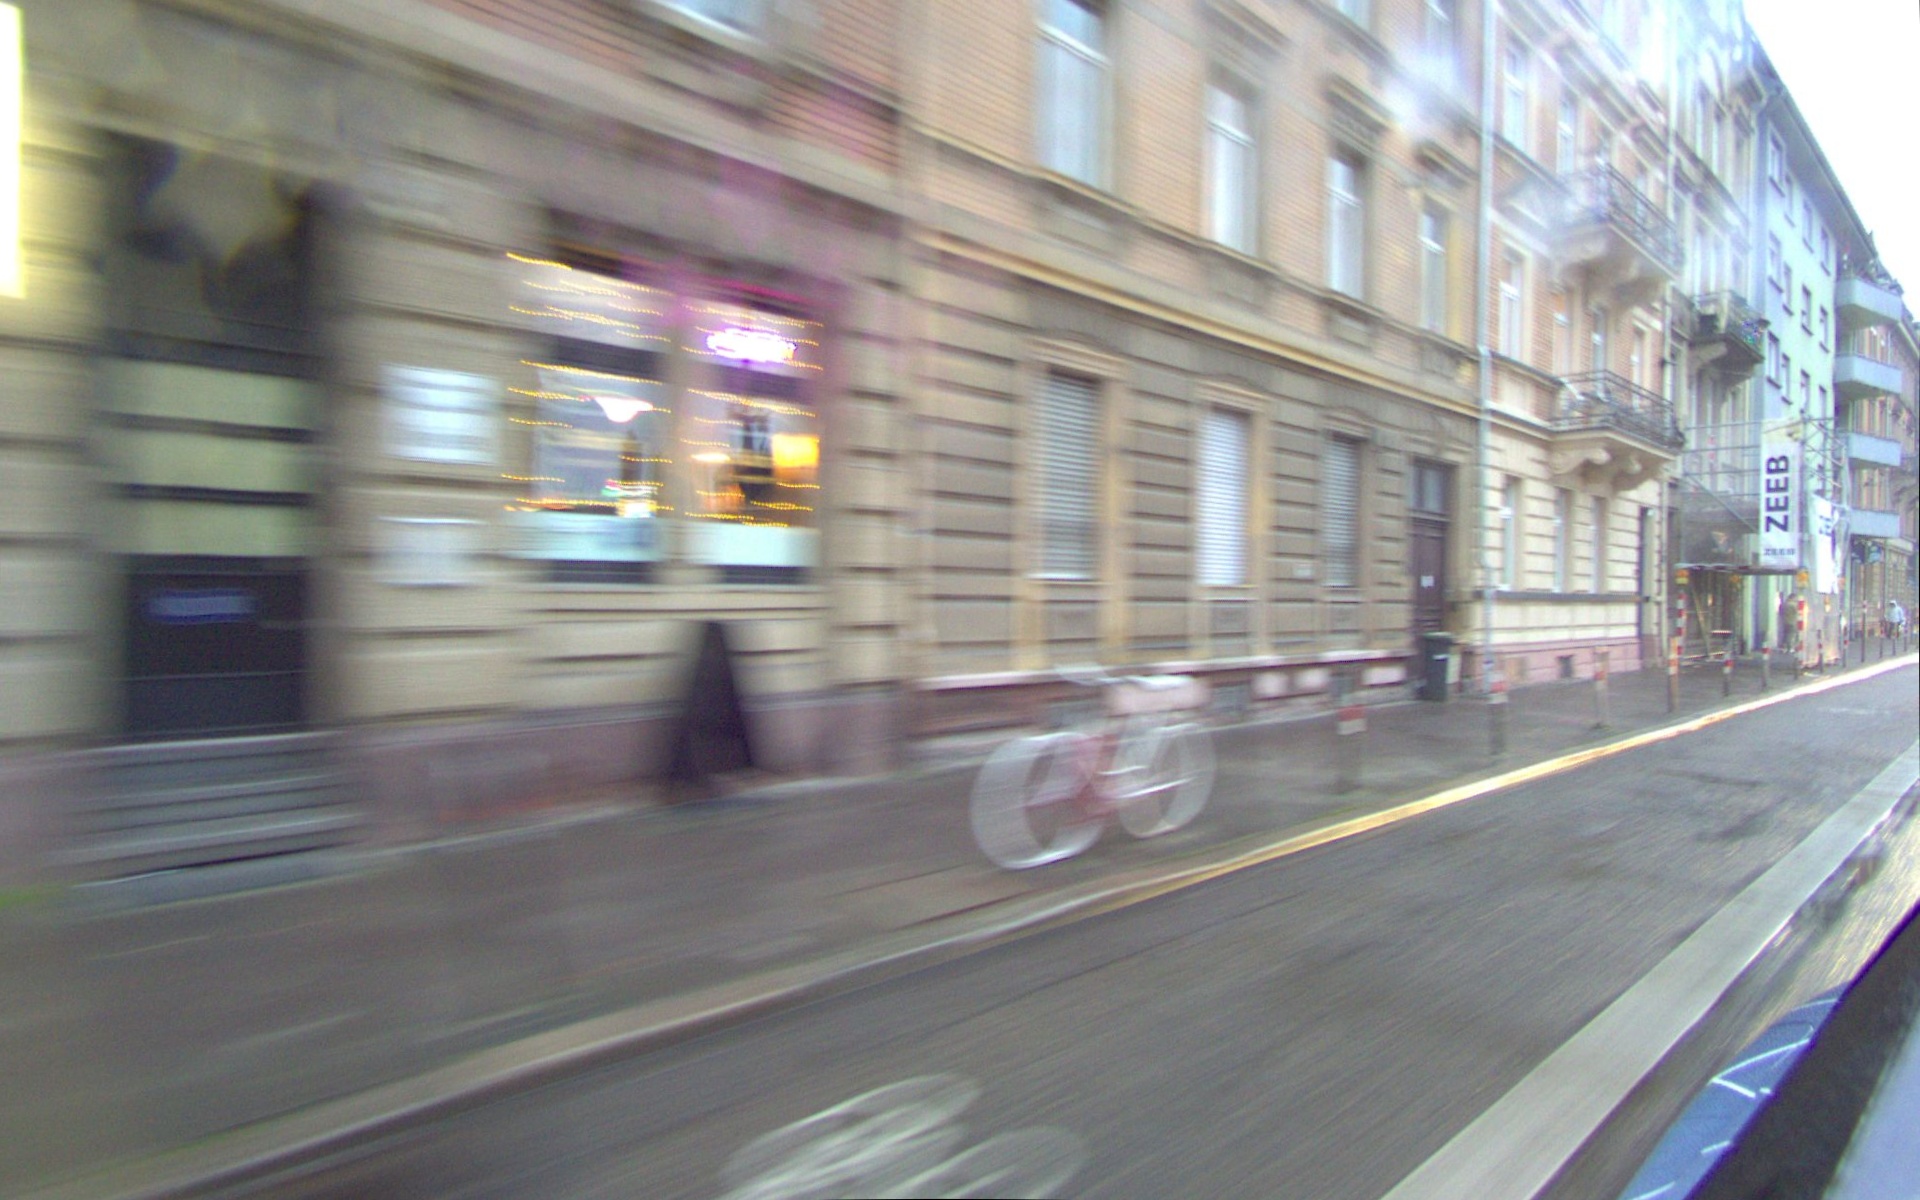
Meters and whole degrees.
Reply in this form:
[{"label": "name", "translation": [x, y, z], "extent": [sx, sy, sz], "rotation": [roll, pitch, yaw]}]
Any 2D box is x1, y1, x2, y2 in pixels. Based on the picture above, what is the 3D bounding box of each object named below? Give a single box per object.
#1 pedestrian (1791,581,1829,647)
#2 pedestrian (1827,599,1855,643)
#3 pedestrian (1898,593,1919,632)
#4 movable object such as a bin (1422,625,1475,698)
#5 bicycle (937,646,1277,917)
[{"label": "pedestrian", "translation": [24.352, 0.395, 29.015], "extent": [0.593, 1.841, 0.770], "rotation": [-1, 0, 22]}, {"label": "pedestrian", "translation": [28.443, 0.658, 32.667], "extent": [0.716, 1.394, 0.601], "rotation": [0, 0, -41]}, {"label": "pedestrian", "translation": [40.567, 0.522, 43.155], "extent": [0.729, 1.617, 0.787], "rotation": [0, 0, -43]}, {"label": "movable object such as a bin", "translation": [6.637, 0.826, 13.743], "extent": [0.499, 0.943, 0.507], "rotation": [0, 0, -42]}, {"label": "bicycle", "translation": [0.914, 0.905, 5.775], "extent": [2.150, 1.171, 0.685], "rotation": [-1, 0, -41]}]
